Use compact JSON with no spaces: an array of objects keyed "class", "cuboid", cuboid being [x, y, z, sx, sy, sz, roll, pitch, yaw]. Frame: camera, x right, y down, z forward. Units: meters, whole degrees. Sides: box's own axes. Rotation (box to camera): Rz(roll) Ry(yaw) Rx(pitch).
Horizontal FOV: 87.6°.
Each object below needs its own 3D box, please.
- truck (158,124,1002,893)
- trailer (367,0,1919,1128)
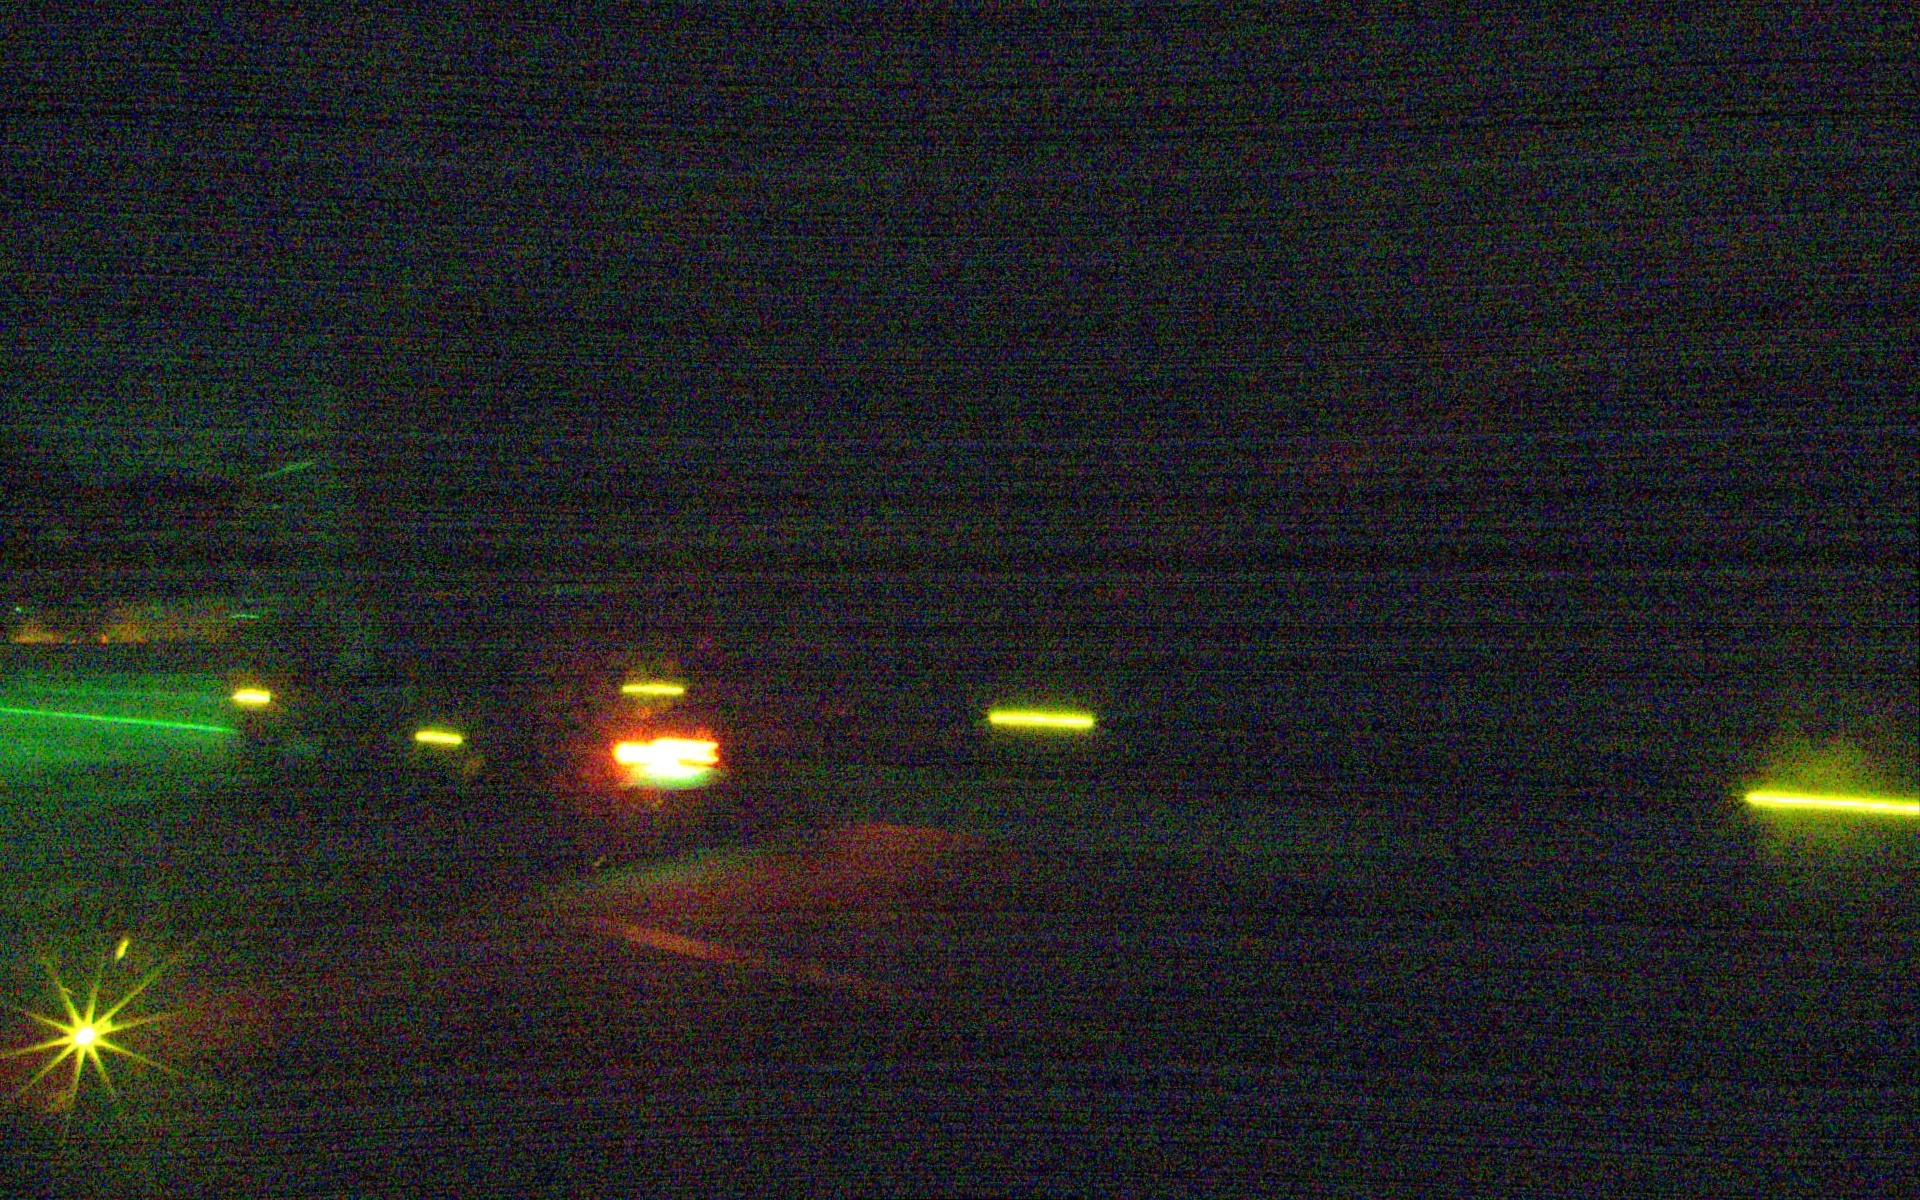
[{"class":"truck","cuboid":[-3.565,-0.441,8.580,7.402,4.131,2.856,-1,0,32]},{"class":"trailer","cuboid":[1.950,-0.487,5.125,13.014,4.121,2.848,-1,0,32]}]
